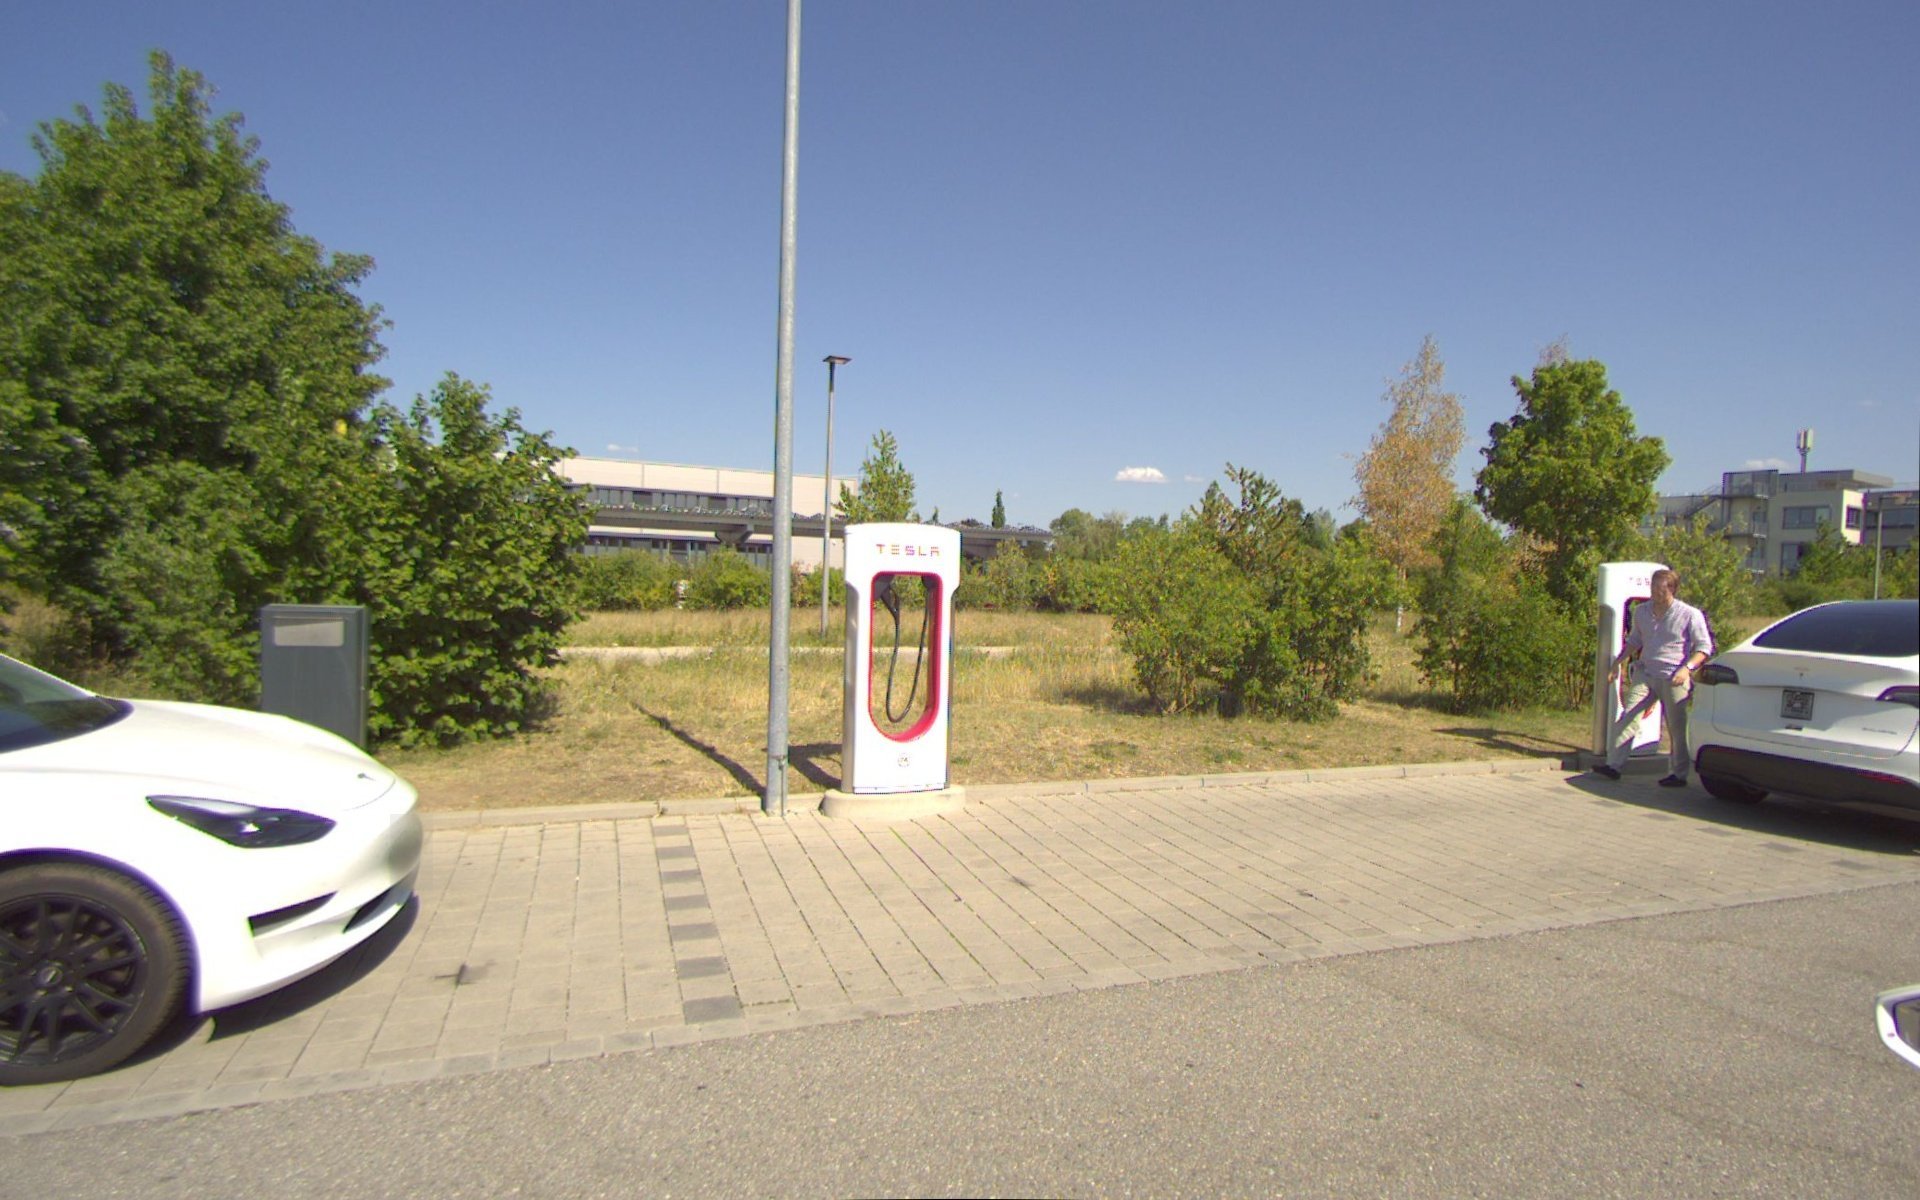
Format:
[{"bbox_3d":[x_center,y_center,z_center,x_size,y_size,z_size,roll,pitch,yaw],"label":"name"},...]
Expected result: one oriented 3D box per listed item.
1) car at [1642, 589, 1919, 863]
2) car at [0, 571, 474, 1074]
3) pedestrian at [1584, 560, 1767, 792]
[{"bbox_3d":[7.557,0.792,7.650,4.427,1.622,1.858,1,2,-25],"label":"car"},{"bbox_3d":[-4.131,0.595,3.269,4.380,1.396,1.814,1,1,-20],"label":"car"},{"bbox_3d":[5.957,0.594,8.389,1.019,1.824,0.734,1,2,-19],"label":"pedestrian"}]
